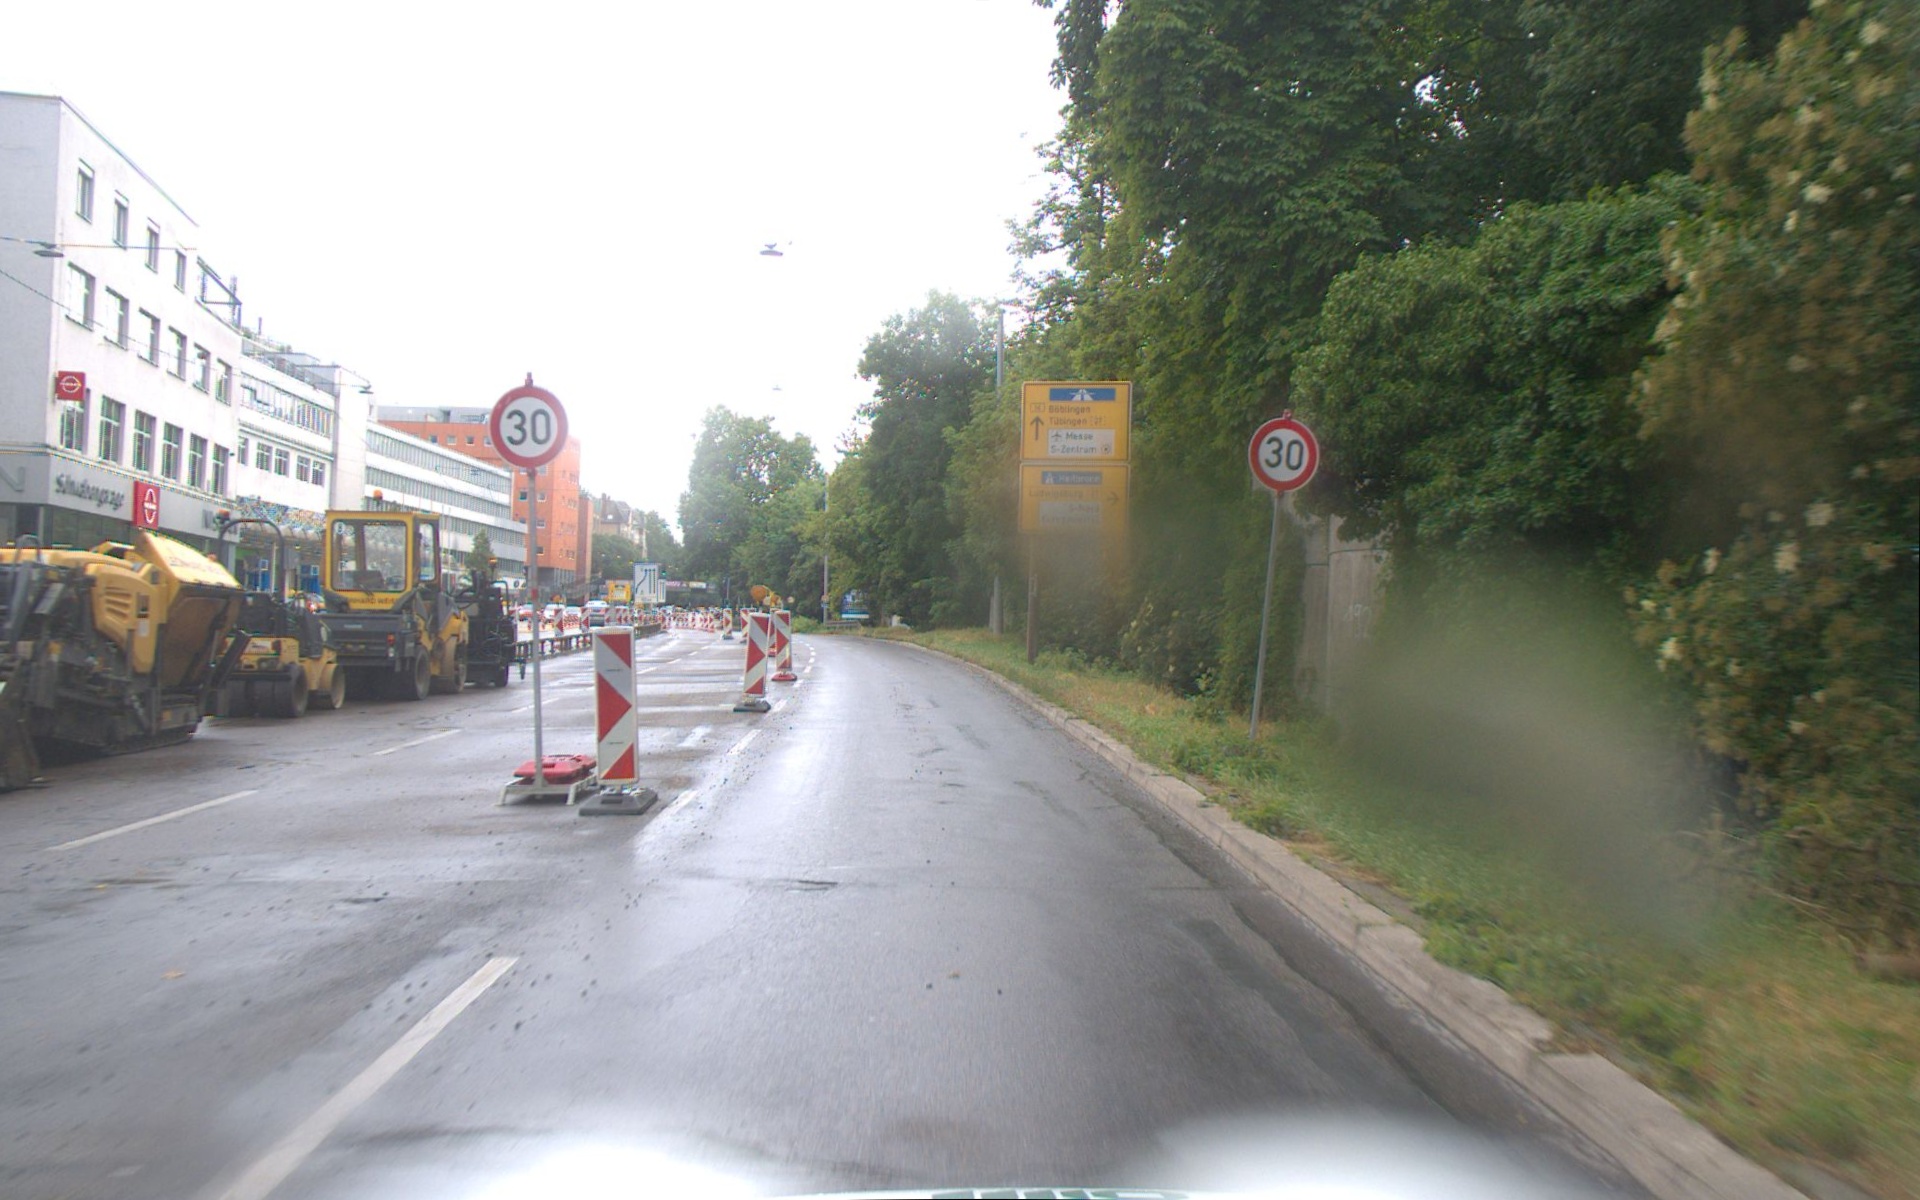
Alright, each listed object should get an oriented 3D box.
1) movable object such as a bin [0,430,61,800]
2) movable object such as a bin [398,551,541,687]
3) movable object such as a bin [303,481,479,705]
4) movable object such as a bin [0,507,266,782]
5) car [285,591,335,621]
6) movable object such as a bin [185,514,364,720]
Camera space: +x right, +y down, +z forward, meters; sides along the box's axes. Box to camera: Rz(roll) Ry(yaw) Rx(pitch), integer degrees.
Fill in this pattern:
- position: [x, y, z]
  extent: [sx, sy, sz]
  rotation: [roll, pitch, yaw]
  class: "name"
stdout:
- position: [-7.780, 0.089, 9.898]
  extent: [1.863, 2.655, 5.382]
  rotation: [1, 0, -1]
  class: "movable object such as a bin"
- position: [-8.383, 0.303, 28.517]
  extent: [1.682, 2.187, 3.347]
  rotation: [0, 0, -4]
  class: "movable object such as a bin"
- position: [-8.303, -0.098, 24.421]
  extent: [1.436, 3.061, 3.722]
  rotation: [0, 0, -2]
  class: "movable object such as a bin"
- position: [-8.106, 0.329, 15.223]
  extent: [1.335, 2.126, 5.029]
  rotation: [1, 0, -1]
  class: "movable object such as a bin"
- position: [-41.058, 0.386, 104.381]
  extent: [1.788, 1.684, 3.944]
  rotation: [4, -1, -39]
  class: "car"
- position: [-8.588, 0.193, 20.882]
  extent: [1.383, 2.443, 2.404]
  rotation: [0, 0, -4]
  class: "movable object such as a bin"
